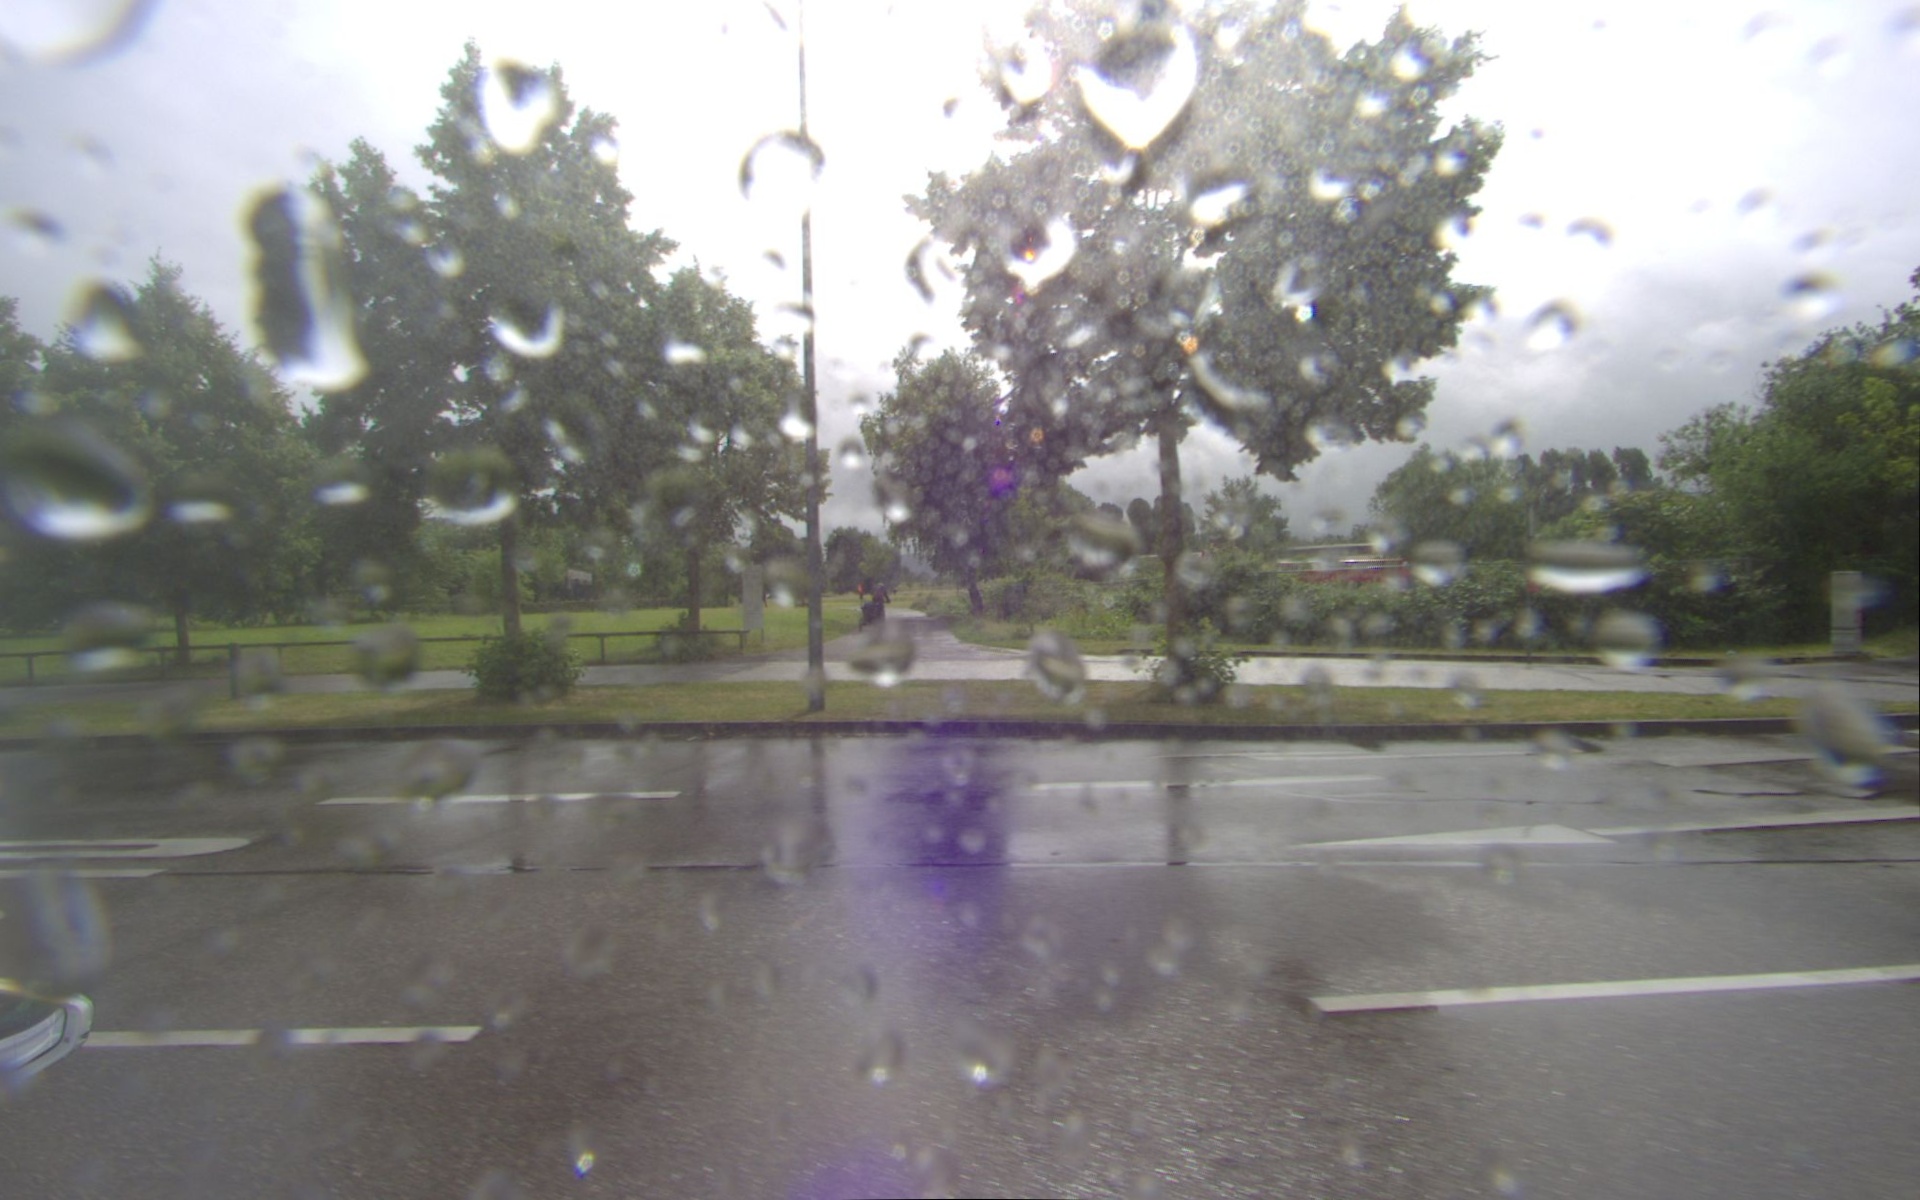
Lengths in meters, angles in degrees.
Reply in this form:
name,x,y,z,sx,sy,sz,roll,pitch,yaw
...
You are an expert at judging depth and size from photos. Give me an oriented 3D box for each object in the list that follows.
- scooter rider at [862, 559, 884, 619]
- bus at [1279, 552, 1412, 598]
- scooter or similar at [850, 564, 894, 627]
name,x,y,z,sx,sy,sz,roll,pitch,yaw
scooter rider,-3.030,-0.368,34.894,0.692,2.040,0.770,-1,0,-5
bus,33.502,-2.074,87.601,10.866,3.505,1.983,-2,-1,42
scooter or similar,-2.990,-0.110,34.353,1.216,2.039,3.410,-1,-1,-1
